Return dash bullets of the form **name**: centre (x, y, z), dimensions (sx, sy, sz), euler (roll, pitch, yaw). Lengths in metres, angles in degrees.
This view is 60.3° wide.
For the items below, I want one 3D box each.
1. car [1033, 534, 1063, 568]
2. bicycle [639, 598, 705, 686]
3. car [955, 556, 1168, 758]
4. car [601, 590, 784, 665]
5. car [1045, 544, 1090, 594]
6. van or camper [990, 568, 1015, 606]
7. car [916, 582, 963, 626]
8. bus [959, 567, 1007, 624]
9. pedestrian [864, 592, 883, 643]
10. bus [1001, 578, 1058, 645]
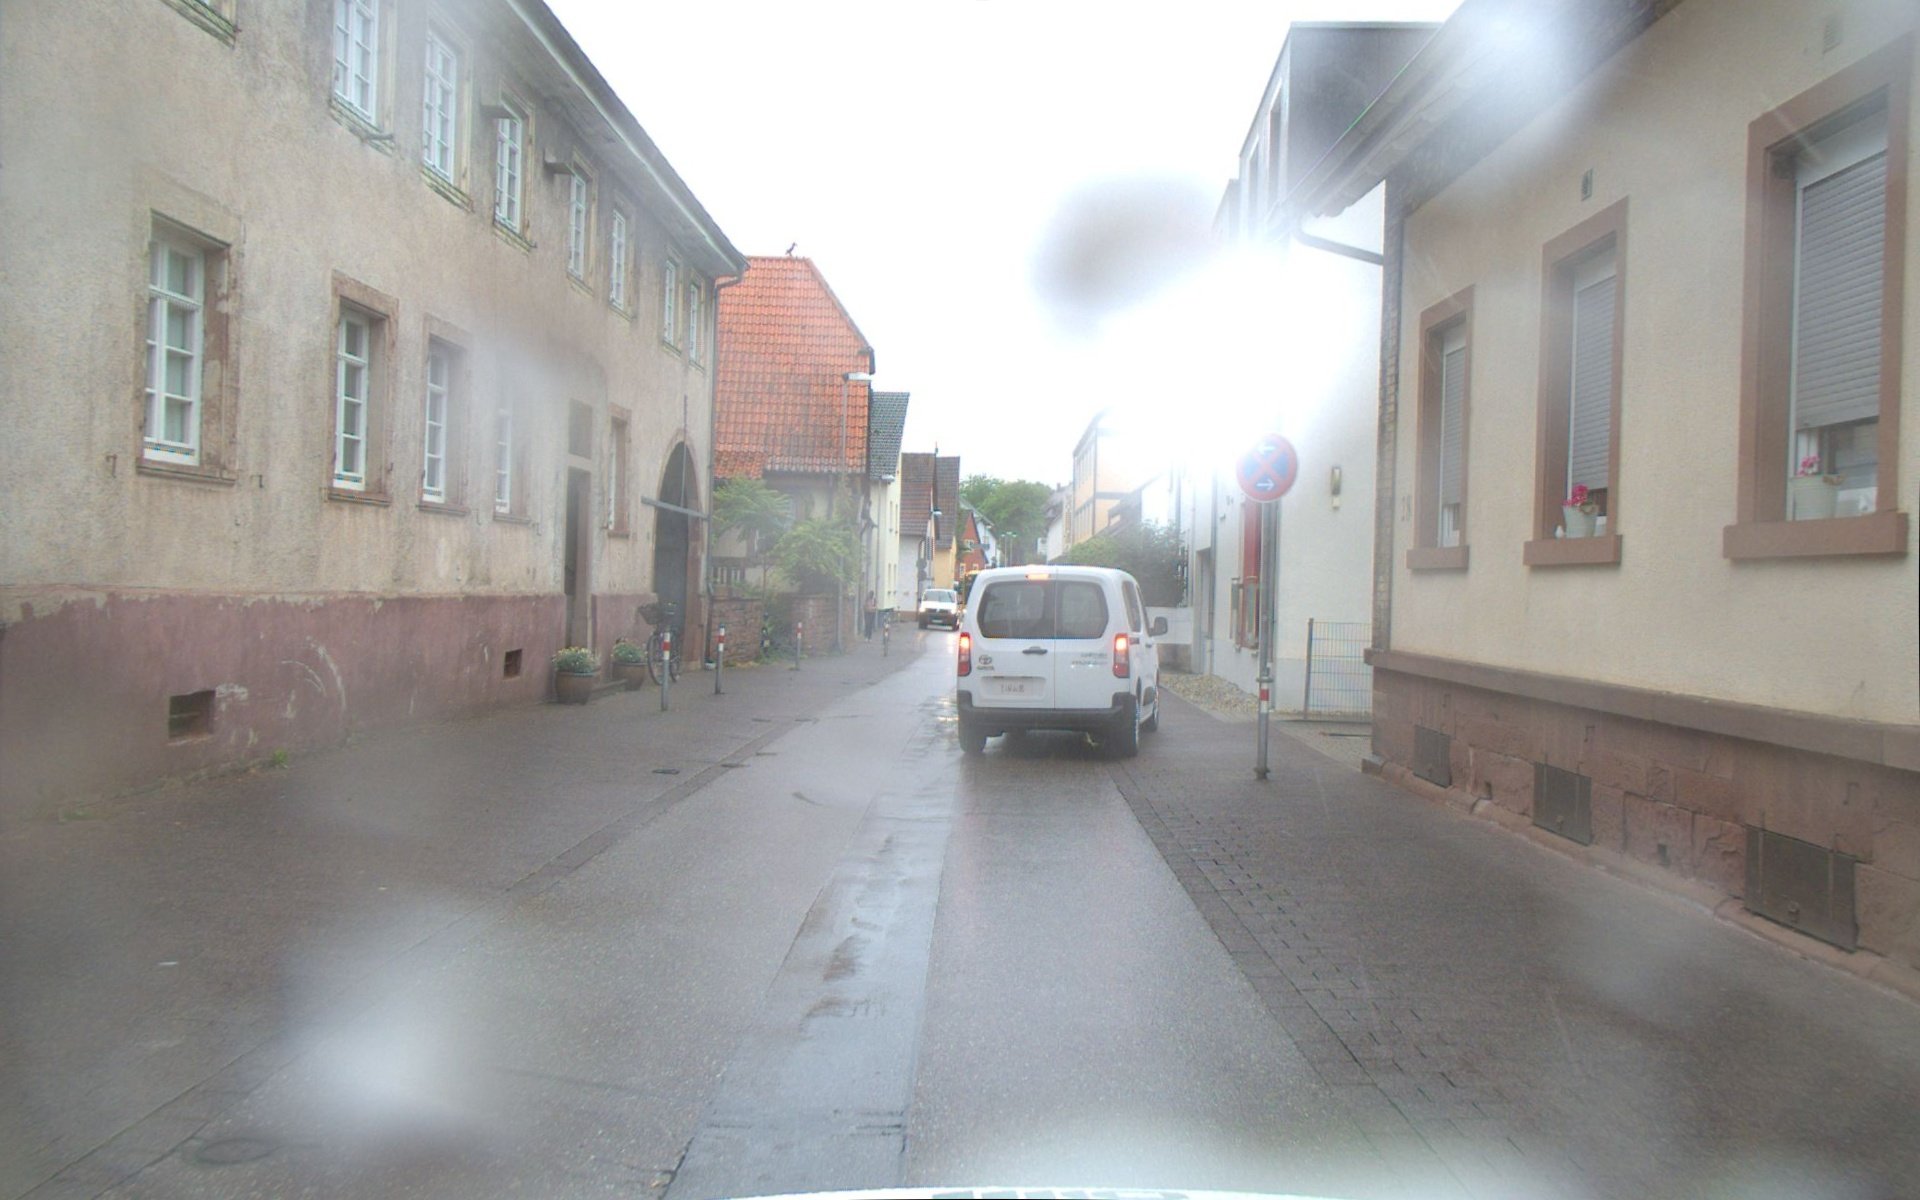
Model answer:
- **car**: centre (6.043, -3.364, 113.438), dimensions (1.952, 2.049, 4.001), euler (3, -1, 3)
- **bicycle**: centre (-4.155, 0.596, 23.982), dimensions (0.473, 1.200, 1.836), euler (3, -1, 4)
- **car**: centre (1.188, 0.544, 17.349), dimensions (1.756, 1.850, 4.105), euler (0, -1, 10)
- **car**: centre (-5.525, 0.553, 34.400), dimensions (3.453, 1.400, 1.595), euler (2, 0, 4)
- **car**: centre (4.796, -1.355, 74.310), dimensions (1.789, 2.049, 3.694), euler (3, -1, 2)
- **van or camper**: centre (3.620, -1.071, 139.892), dimensions (1.797, 2.976, 5.365), euler (3, -1, 3)
- **car**: centre (-0.969, 0.220, 80.471), dimensions (1.853, 2.001, 4.725), euler (3, -1, 3)
- **bus**: centre (1.550, -0.232, 107.427), dimensions (2.736, 3.387, 8.179), euler (4, -1, 2)
- **pedestrian**: centre (-2.694, 0.545, 51.470), dimensions (0.557, 1.557, 0.568), euler (1, -1, -8)
- **bus**: centre (3.668, 0.641, 88.442), dimensions (2.736, 3.235, 8.179), euler (4, -1, 2)
